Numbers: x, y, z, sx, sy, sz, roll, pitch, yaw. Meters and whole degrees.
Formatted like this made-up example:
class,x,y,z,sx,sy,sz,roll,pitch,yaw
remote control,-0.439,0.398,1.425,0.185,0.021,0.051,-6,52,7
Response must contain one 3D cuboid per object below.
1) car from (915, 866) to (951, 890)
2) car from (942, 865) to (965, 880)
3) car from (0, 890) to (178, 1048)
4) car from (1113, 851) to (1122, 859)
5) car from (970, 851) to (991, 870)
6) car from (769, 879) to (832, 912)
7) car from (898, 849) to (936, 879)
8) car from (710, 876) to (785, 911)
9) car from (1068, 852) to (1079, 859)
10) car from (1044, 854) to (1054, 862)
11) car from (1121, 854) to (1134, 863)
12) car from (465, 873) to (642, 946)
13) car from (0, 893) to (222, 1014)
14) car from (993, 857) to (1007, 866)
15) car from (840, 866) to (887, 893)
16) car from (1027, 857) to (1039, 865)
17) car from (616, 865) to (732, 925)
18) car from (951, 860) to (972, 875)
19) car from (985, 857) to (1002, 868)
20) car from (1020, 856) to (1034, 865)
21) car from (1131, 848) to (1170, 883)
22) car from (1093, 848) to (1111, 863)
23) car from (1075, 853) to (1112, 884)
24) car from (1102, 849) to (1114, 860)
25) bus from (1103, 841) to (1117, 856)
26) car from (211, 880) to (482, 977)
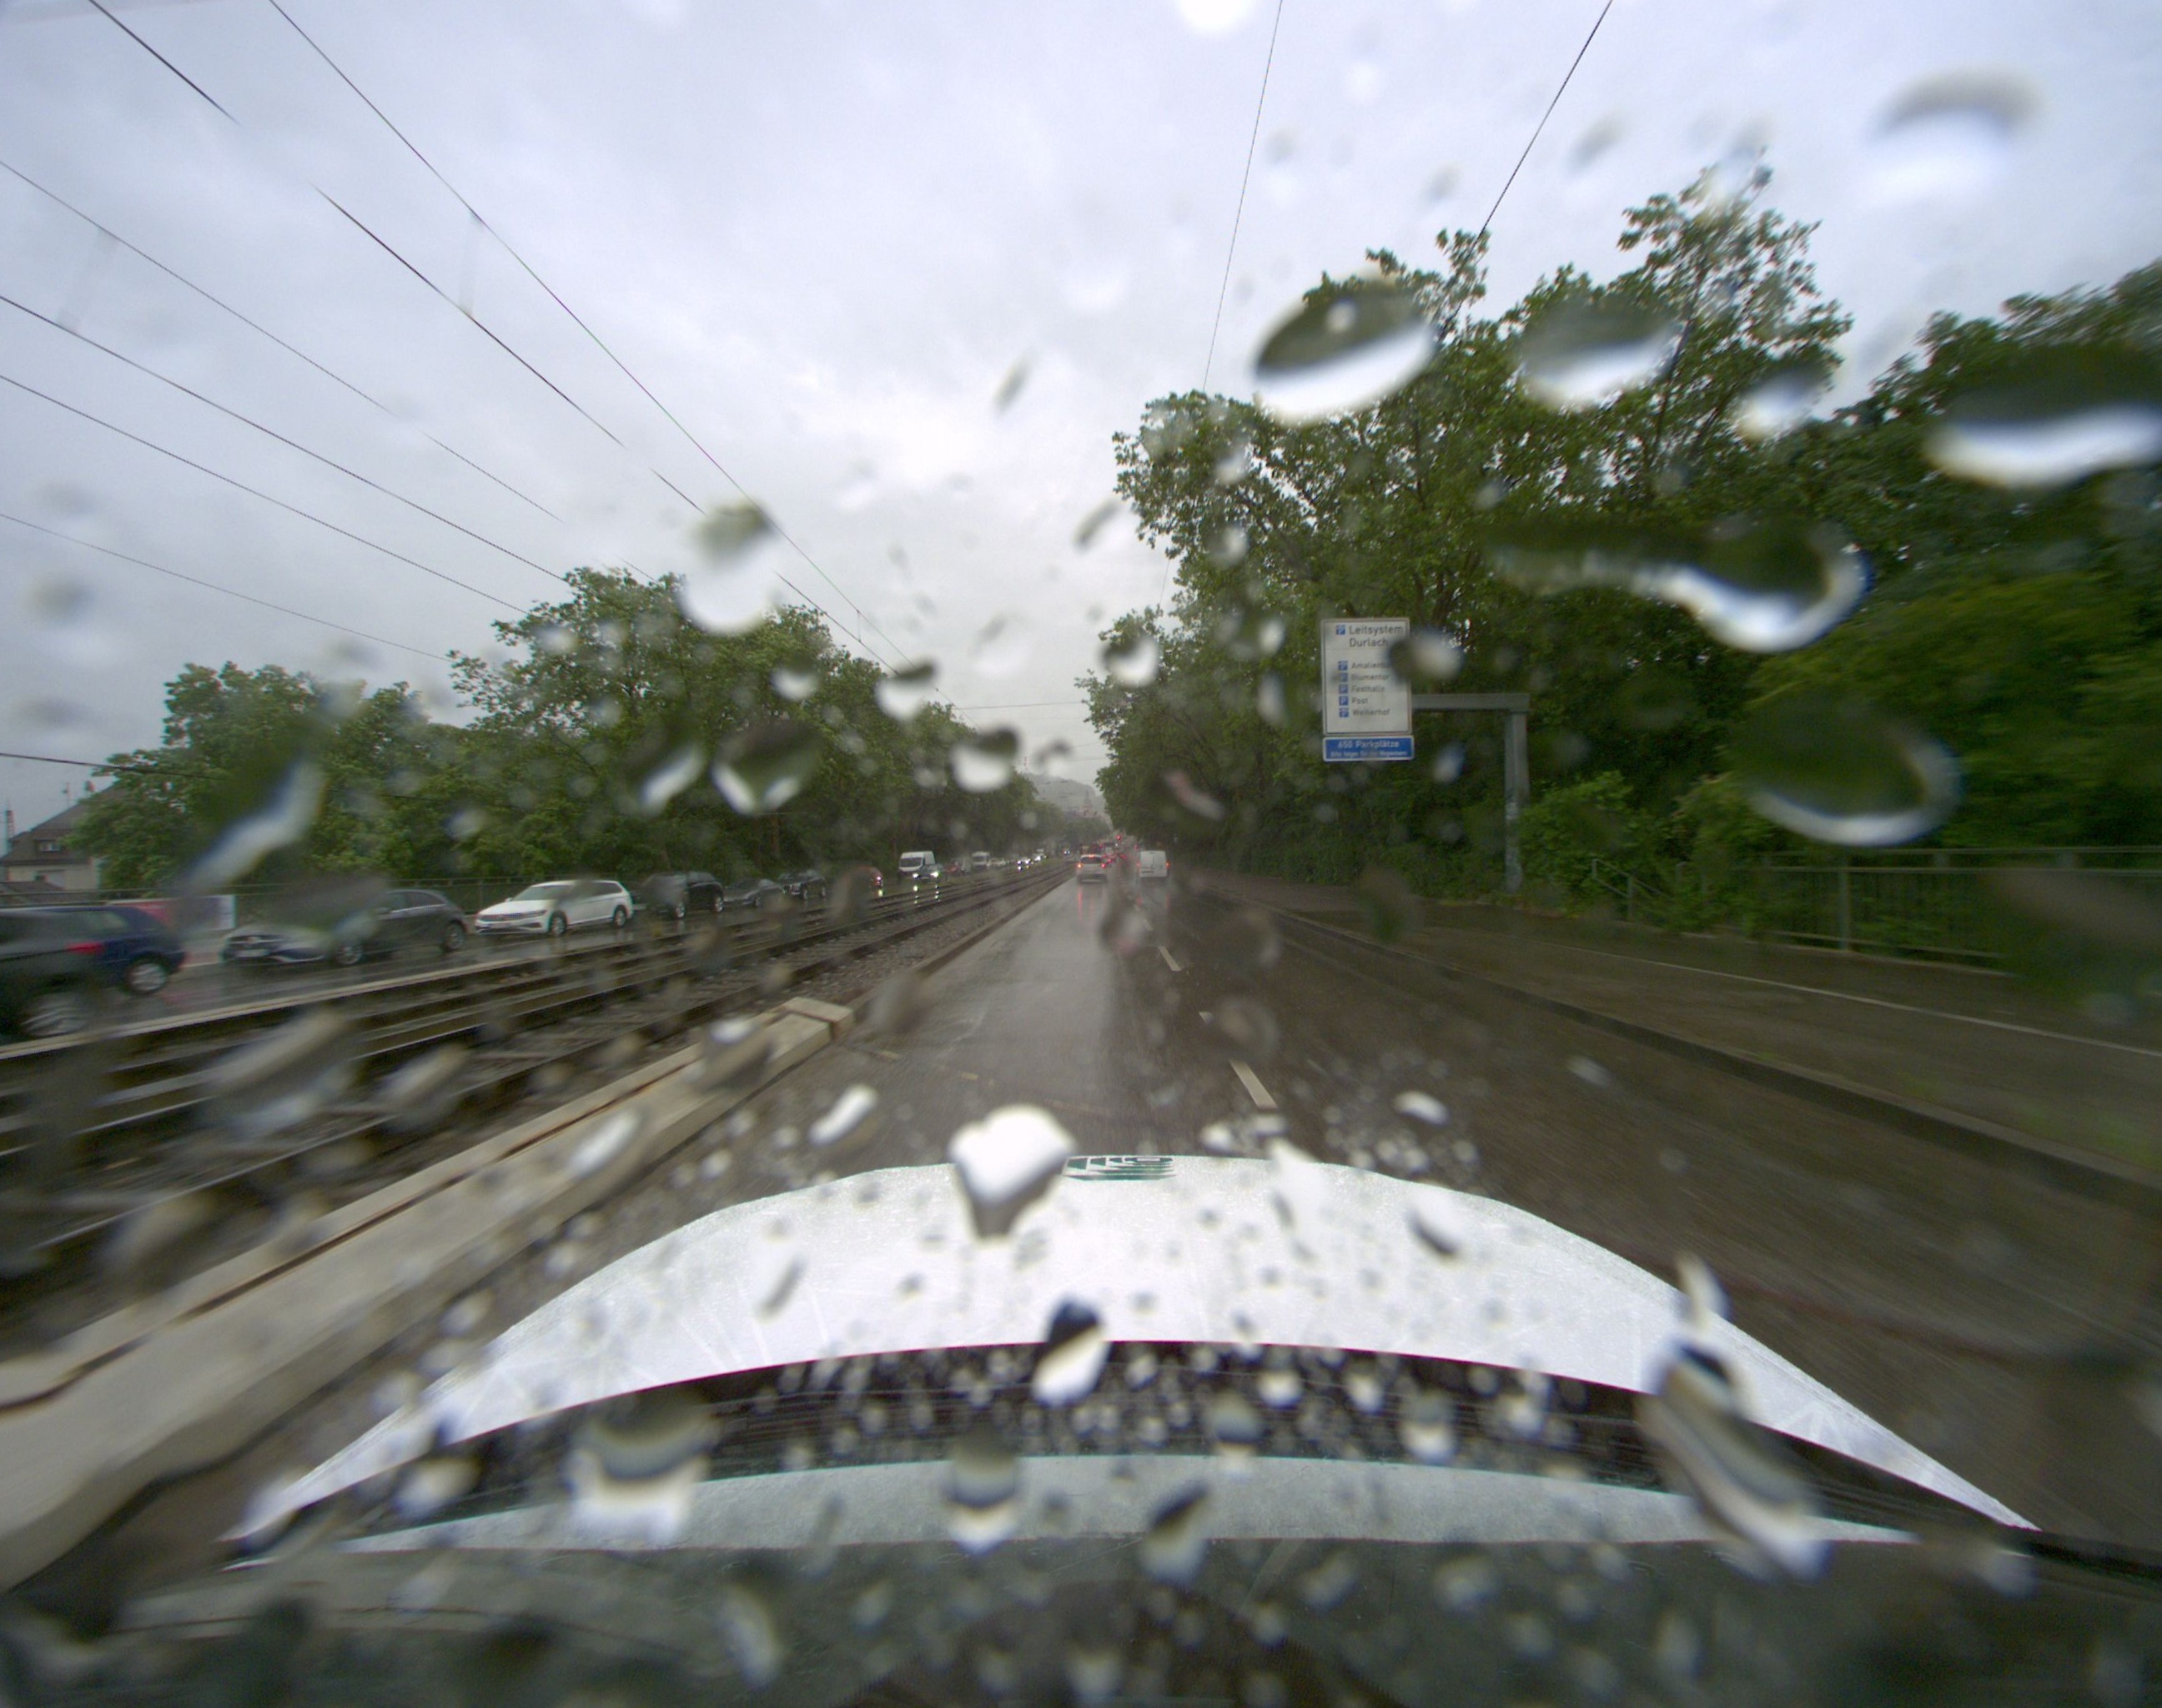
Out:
class,x,y,z,sx,sy,sz,roll,pitch,yaw
car,-10.662,1.719,58.861,1.500,1.401,4.710,-3,1,2
car,-12.956,1.849,82.697,1.500,1.350,4.028,-4,1,2
car,-11.382,1.237,7.219,1.809,1.368,4.268,0,4,2
car,8.569,0.195,190.123,1.985,1.826,4.004,0,1,3
car,-12.697,0.805,103.246,1.794,2.221,4.279,-3,1,2
car,-13.747,2.004,40.155,1.500,1.292,4.097,-3,1,2
car,-13.389,0.761,66.813,1.735,2.169,5.814,-4,1,0
car,-14.012,1.621,34.436,1.500,1.172,3.714,-4,1,2
car,-1.633,0.431,183.928,1.795,1.350,4.272,-3,1,7
car,-6.437,0.796,164.468,1.798,1.350,4.265,-4,1,1
car,7.322,0.628,128.039,1.985,1.321,4.004,0,1,3
car,-14.274,1.420,22.452,1.501,1.400,4.894,-7,1,1
car,-14.754,1.406,11.075,1.501,1.401,4.281,-4,1,0
car,-13.681,1.280,137.270,1.798,1.350,4.265,-4,1,2
car,-13.672,1.576,51.408,1.604,1.442,4.264,-4,1,2
car,-9.508,1.437,161.386,1.798,1.350,4.265,-4,1,2
car,-14.018,1.349,28.420,1.501,1.671,4.834,-4,1,0
car,-13.006,1.458,88.535,1.500,1.350,4.028,-4,1,2
car,-12.827,1.191,119.462,1.798,1.350,4.265,-4,1,2
car,-8.909,1.074,134.250,1.798,1.350,4.265,-4,1,2
car,3.633,0.547,43.106,1.985,1.726,4.004,0,1,3
car,2.594,0.188,100.443,1.985,1.826,4.004,0,1,3
car,0.790,0.822,48.813,1.985,1.716,4.004,0,1,3
car,4.727,0.061,144.342,1.985,1.826,4.004,0,1,3
bus,7.518,-1.522,211.304,3.375,3.836,9.749,0,1,4
car,-14.386,1.365,16.371,1.502,1.401,4.404,-4,1,-3
